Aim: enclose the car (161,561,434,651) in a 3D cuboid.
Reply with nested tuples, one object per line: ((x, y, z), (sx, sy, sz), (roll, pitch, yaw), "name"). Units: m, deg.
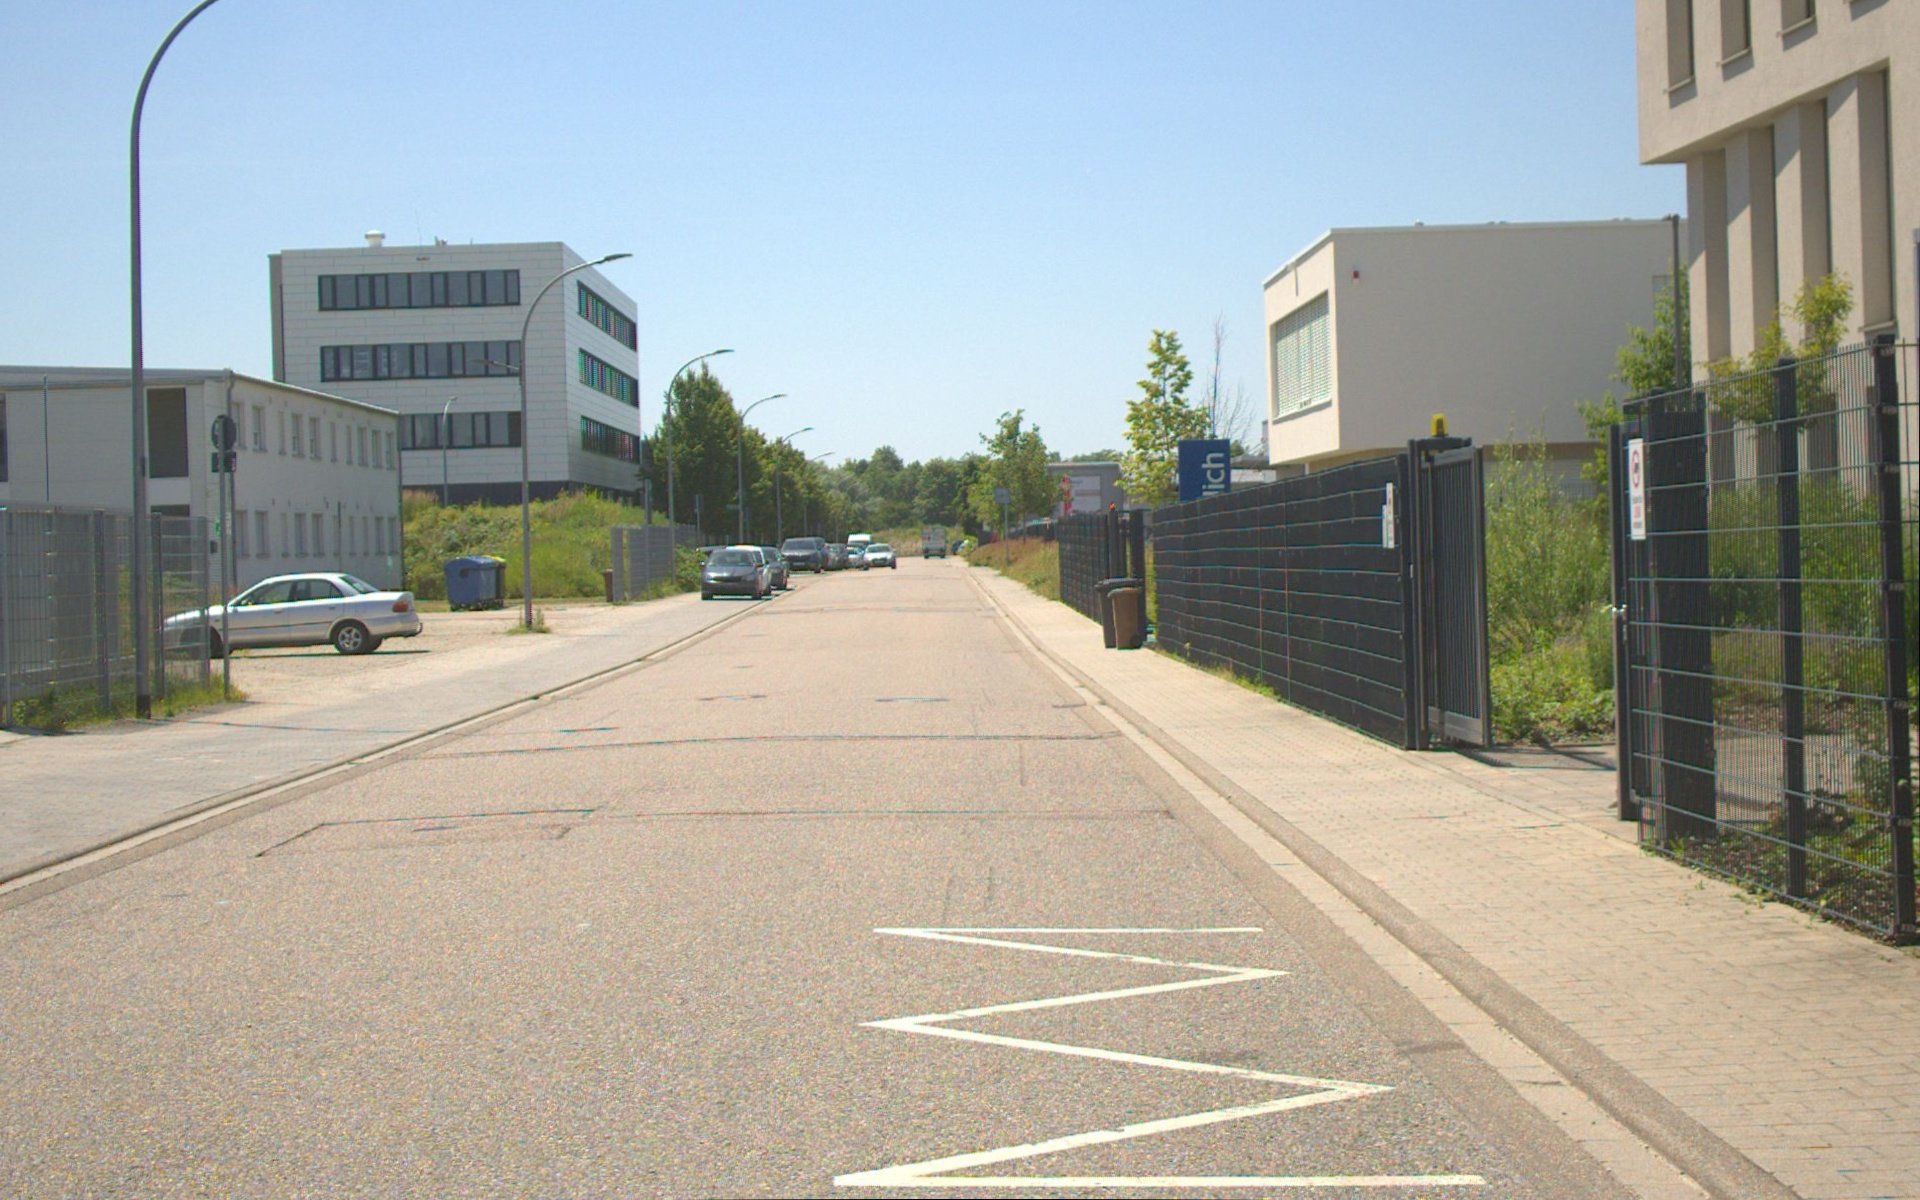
((-11.362, 0.095, 59.141), (4.277, 1.360, 1.898), (-2, 1, 0), "car")

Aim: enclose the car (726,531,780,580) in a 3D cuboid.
((-6.451, -1.395, 107.354), (1.466, 1.484, 3.207), (-1, 1, 0), "car")

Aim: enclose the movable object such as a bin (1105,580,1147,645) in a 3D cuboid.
((2.536, 0.190, 52.546), (0.552, 0.925, 0.522), (-6, 2, 4), "movable object such as a bin")

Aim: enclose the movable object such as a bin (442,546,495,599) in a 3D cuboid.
((-13.437, -0.771, 94.107), (1.285, 1.407, 1.807), (-1, 1, -4), "movable object such as a bin")

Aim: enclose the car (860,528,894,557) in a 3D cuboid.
((-4.654, -3.232, 194.301), (1.804, 1.551, 4.000), (-2, 1, 0), "car")

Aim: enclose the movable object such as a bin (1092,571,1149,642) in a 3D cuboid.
((2.503, 0.097, 53.527), (0.779, 1.016, 0.665), (-6, 2, 4), "movable object such as a bin")

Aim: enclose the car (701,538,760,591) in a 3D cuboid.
((-6.684, -1.058, 100.365), (1.466, 1.484, 3.207), (-1, 1, 0), "car")

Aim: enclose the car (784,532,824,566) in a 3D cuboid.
((-7.038, -2.317, 155.283), (1.644, 1.484, 3.207), (-1, 1, 0), "car")

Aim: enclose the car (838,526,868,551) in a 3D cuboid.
((-6.888, -3.964, 222.253), (1.804, 1.551, 4.000), (-2, 1, 0), "car")
